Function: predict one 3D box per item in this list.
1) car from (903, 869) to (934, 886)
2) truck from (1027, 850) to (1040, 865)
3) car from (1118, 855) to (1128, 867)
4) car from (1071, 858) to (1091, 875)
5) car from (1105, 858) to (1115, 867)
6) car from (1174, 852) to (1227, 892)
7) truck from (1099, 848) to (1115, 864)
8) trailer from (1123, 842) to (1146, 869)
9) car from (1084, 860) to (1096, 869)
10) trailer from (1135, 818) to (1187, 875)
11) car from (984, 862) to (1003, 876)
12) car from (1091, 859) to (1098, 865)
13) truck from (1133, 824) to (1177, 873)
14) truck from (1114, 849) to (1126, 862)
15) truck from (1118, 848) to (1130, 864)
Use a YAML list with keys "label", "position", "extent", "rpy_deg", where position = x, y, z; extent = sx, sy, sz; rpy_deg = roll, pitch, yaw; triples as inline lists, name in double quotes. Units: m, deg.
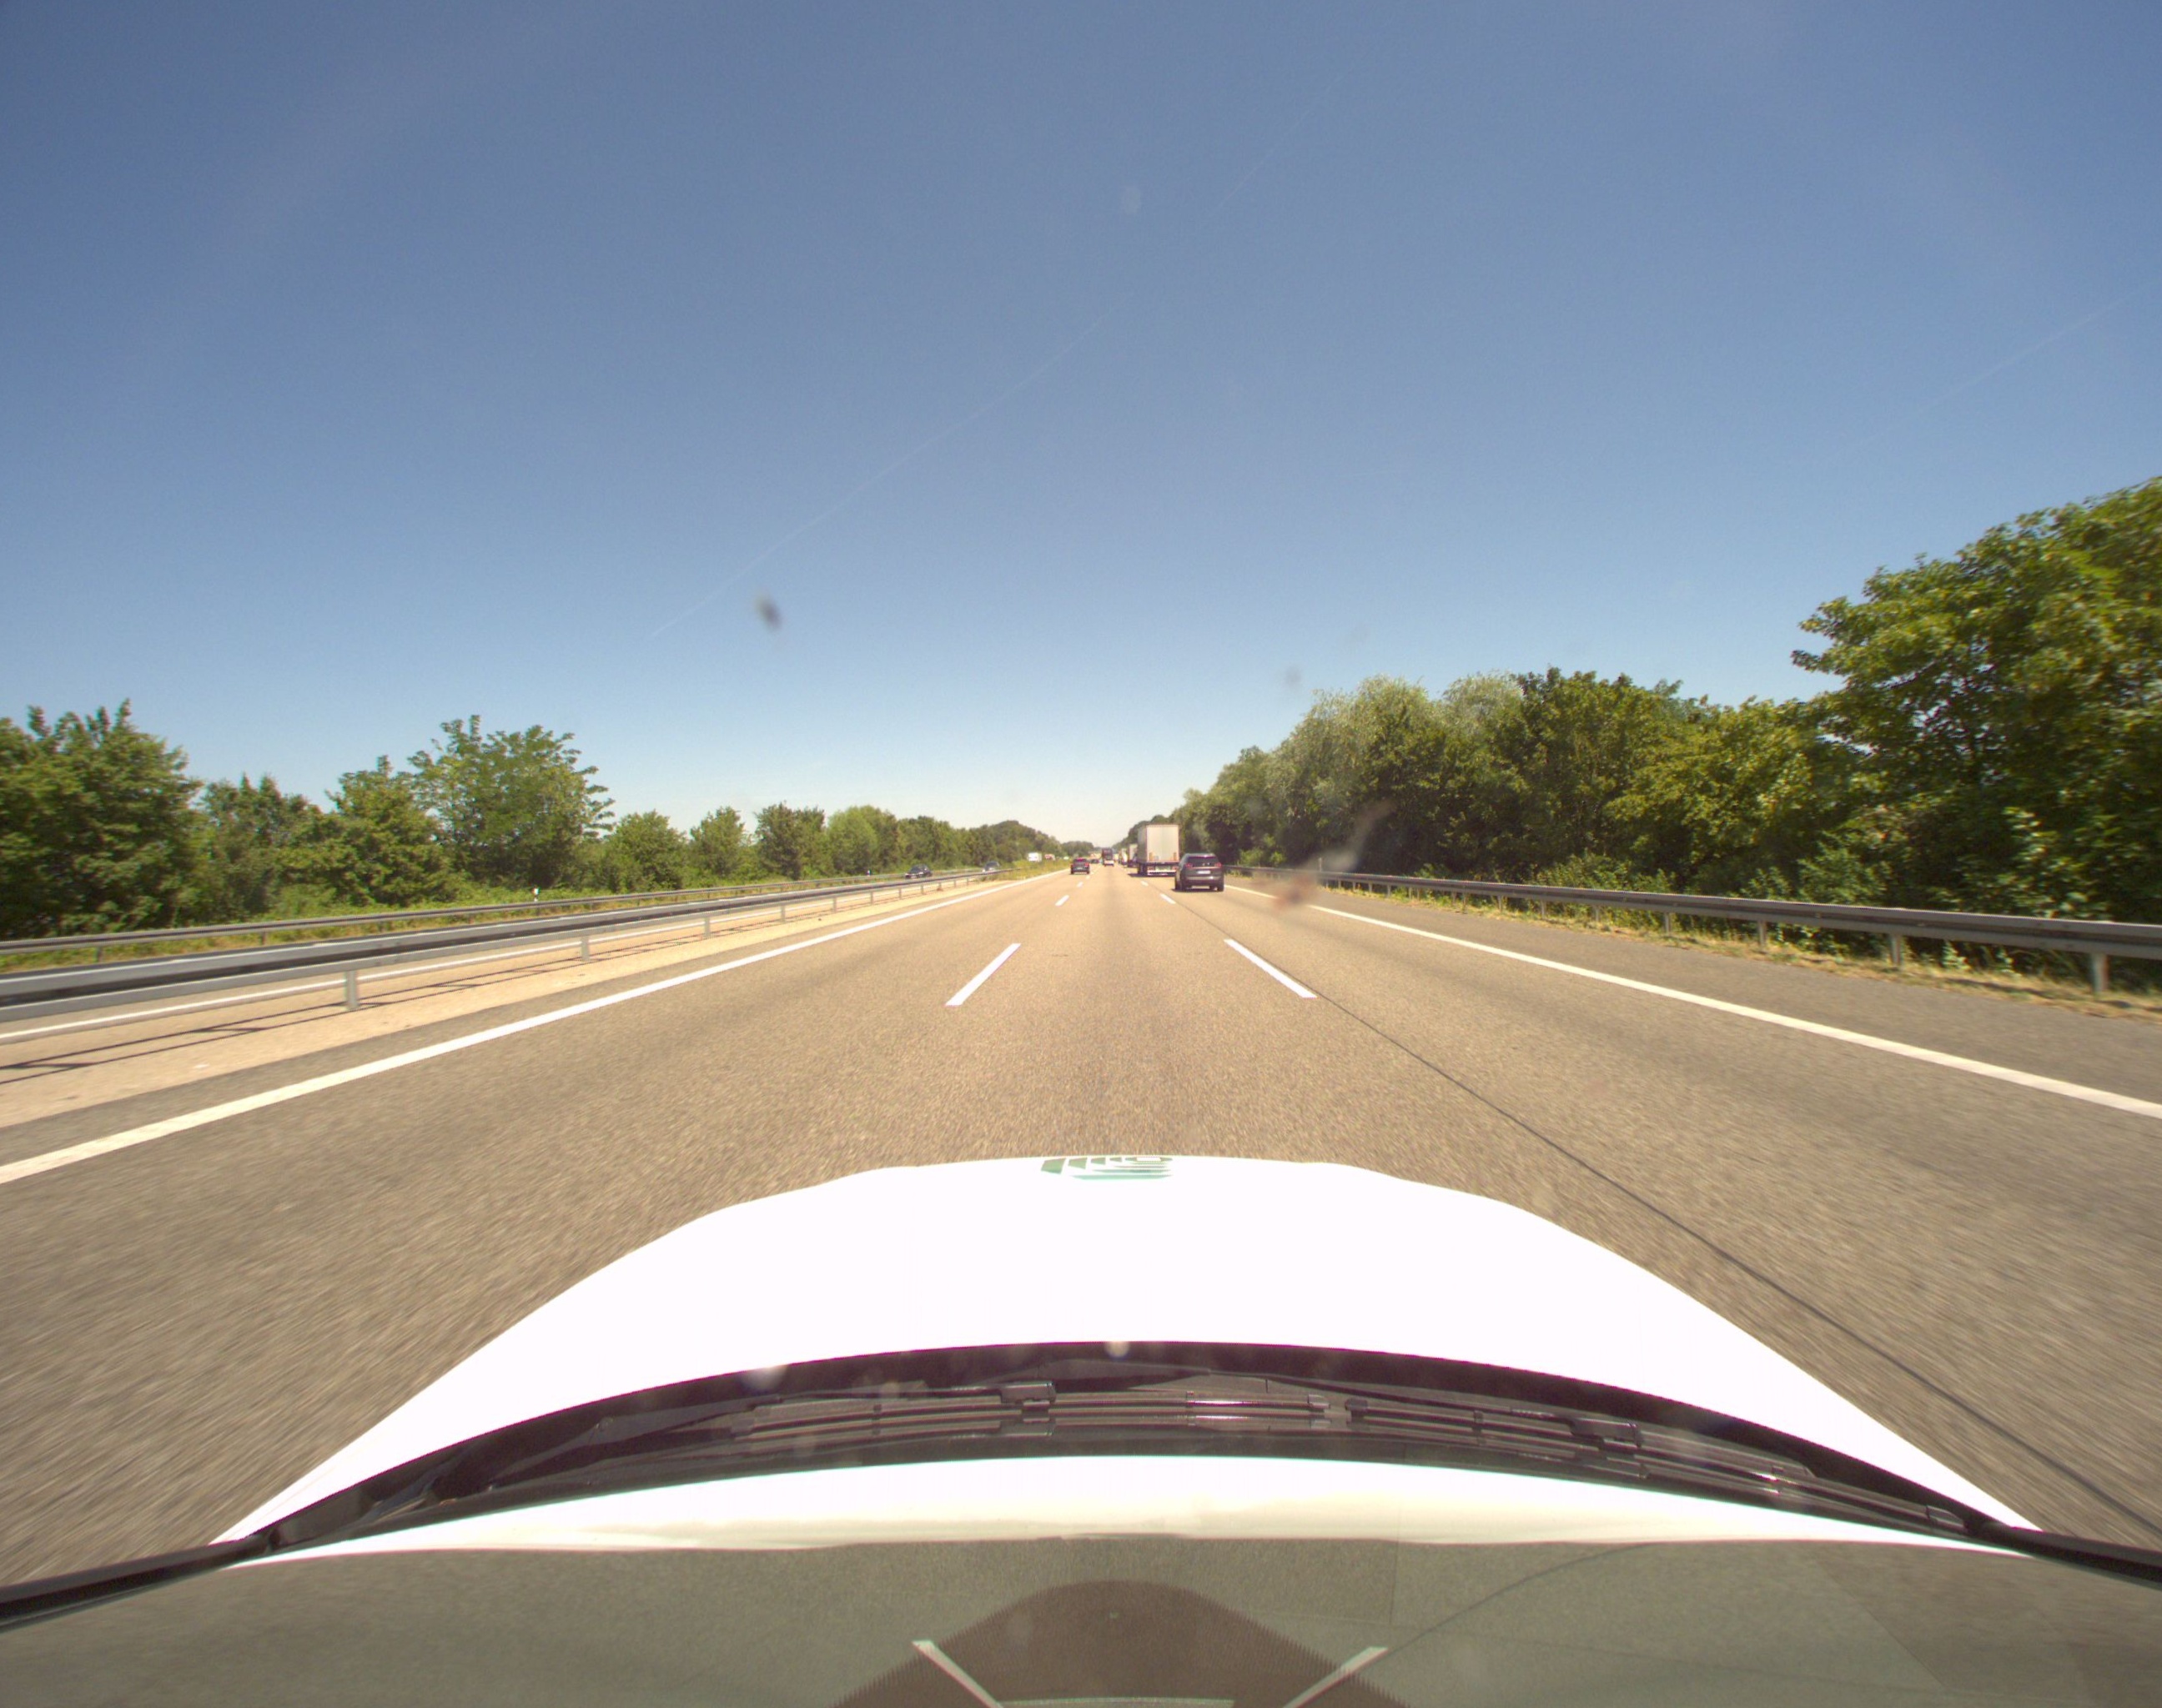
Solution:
- label: "car"
  position: [-15.156, 2.175, 76.193]
  extent: [1.856, 1.401, 4.533]
  rpy_deg: [-3, 0, 1]
- label: "truck"
  position: [-13.425, 1.003, 231.487]
  extent: [3.060, 4.111, 6.528]
  rpy_deg: [-1, 0, 1]
- label: "car"
  position: [8.778, 1.409, 169.666]
  extent: [1.900, 2.425, 4.287]
  rpy_deg: [0, 1, 2]
- label: "car"
  position: [0.035, 1.225, 78.973]
  extent: [1.752, 1.531, 4.287]
  rpy_deg: [0, 1, 2]
- label: "car"
  position: [5.336, 1.535, 150.299]
  extent: [1.893, 1.531, 4.086]
  rpy_deg: [0, 1, 2]
- label: "car"
  position: [5.140, 0.736, 35.612]
  extent: [1.838, 1.629, 4.137]
  rpy_deg: [-2, 0, 2]
- label: "truck"
  position: [6.446, 0.473, 200.960]
  extent: [3.652, 3.725, 7.114]
  rpy_deg: [-1, 0, 3]
- label: "trailer"
  position: [8.276, 0.191, 127.154]
  extent: [3.111, 3.926, 9.938]
  rpy_deg: [-1, 0, 1]
- label: "car"
  position: [1.605, 1.805, 138.648]
  extent: [1.893, 1.531, 4.086]
  rpy_deg: [0, 1, 2]
- label: "trailer"
  position: [6.347, -0.513, 66.971]
  extent: [3.421, 4.181, 13.639]
  rpy_deg: [-1, 0, 2]
- label: "car"
  position: [-9.718, 1.627, 90.484]
  extent: [1.547, 1.462, 4.047]
  rpy_deg: [-3, 0, 1]
- label: "car"
  position: [4.078, 2.395, 247.257]
  extent: [1.900, 1.531, 4.287]
  rpy_deg: [0, 1, 2]
- label: "truck"
  position: [6.552, -0.450, 73.079]
  extent: [3.451, 4.177, 6.847]
  rpy_deg: [-1, -1, 2]
- label: "truck"
  position: [11.877, 0.350, 247.985]
  extent: [3.475, 3.725, 7.114]
  rpy_deg: [-1, 0, 3]
- label: "truck"
  position: [10.301, 0.480, 193.542]
  extent: [2.781, 3.725, 7.114]
  rpy_deg: [-1, 0, 3]
